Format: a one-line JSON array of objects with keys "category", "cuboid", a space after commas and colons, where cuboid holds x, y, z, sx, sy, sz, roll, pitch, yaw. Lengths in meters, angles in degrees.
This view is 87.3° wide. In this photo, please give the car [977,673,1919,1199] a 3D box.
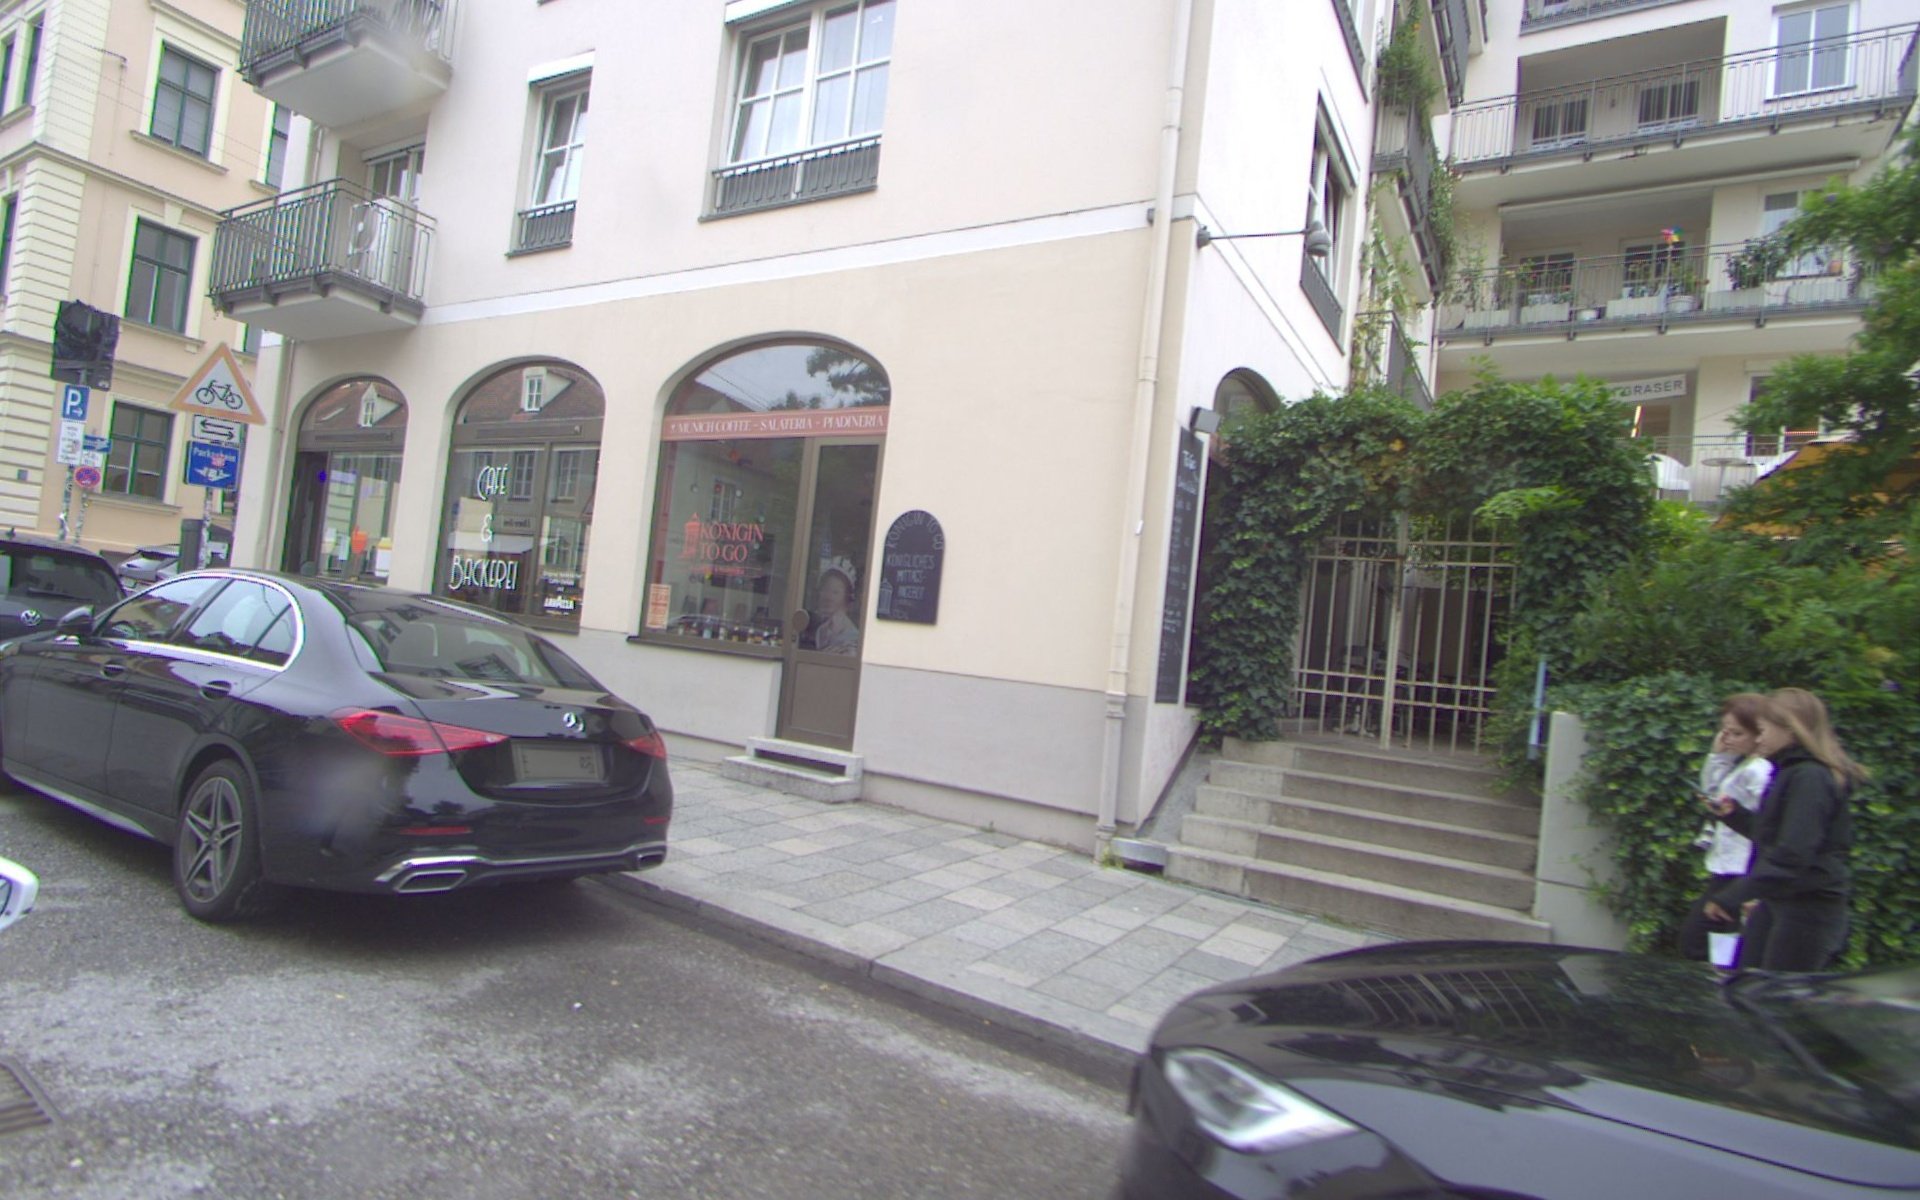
[{"category": "car", "cuboid": [2.463, 1.158, 1.539, 4.580, 1.426, 1.807, 6, -3, 32]}]

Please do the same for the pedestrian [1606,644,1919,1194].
[{"category": "pedestrian", "cuboid": [2.971, 1.056, 3.702, 0.866, 1.680, 0.706, 4, -3, 31]}]

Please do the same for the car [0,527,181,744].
[{"category": "car", "cuboid": [-8.244, 0.068, 7.968, 4.132, 1.439, 1.682, 6, -5, 30]}]

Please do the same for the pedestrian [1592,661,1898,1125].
[{"category": "pedestrian", "cuboid": [3.324, 1.158, 4.355, 0.866, 1.680, 0.706, 4, -3, 31]}]

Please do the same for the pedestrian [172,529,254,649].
[{"category": "pedestrian", "cuboid": [-10.856, -0.151, 14.633, 0.517, 1.666, 0.636, 4, -2, 24]}]

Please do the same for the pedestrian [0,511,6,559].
[{"category": "pedestrian", "cuboid": [-18.079, -0.807, 18.260, 0.987, 1.736, 0.720, 4, -3, 31]}]

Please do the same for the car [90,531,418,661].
[{"category": "car", "cuboid": [-11.831, 0.019, 17.166, 1.725, 1.623, 4.098, 8, -2, 30]}]

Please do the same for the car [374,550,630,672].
[{"category": "car", "cuboid": [-9.538, 0.327, 21.362, 1.941, 1.939, 4.450, 9, -1, 30]}]

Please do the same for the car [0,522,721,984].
[{"category": "car", "cuboid": [-3.580, 0.551, 5.384, 4.434, 1.439, 1.651, 6, -5, 31]}]
